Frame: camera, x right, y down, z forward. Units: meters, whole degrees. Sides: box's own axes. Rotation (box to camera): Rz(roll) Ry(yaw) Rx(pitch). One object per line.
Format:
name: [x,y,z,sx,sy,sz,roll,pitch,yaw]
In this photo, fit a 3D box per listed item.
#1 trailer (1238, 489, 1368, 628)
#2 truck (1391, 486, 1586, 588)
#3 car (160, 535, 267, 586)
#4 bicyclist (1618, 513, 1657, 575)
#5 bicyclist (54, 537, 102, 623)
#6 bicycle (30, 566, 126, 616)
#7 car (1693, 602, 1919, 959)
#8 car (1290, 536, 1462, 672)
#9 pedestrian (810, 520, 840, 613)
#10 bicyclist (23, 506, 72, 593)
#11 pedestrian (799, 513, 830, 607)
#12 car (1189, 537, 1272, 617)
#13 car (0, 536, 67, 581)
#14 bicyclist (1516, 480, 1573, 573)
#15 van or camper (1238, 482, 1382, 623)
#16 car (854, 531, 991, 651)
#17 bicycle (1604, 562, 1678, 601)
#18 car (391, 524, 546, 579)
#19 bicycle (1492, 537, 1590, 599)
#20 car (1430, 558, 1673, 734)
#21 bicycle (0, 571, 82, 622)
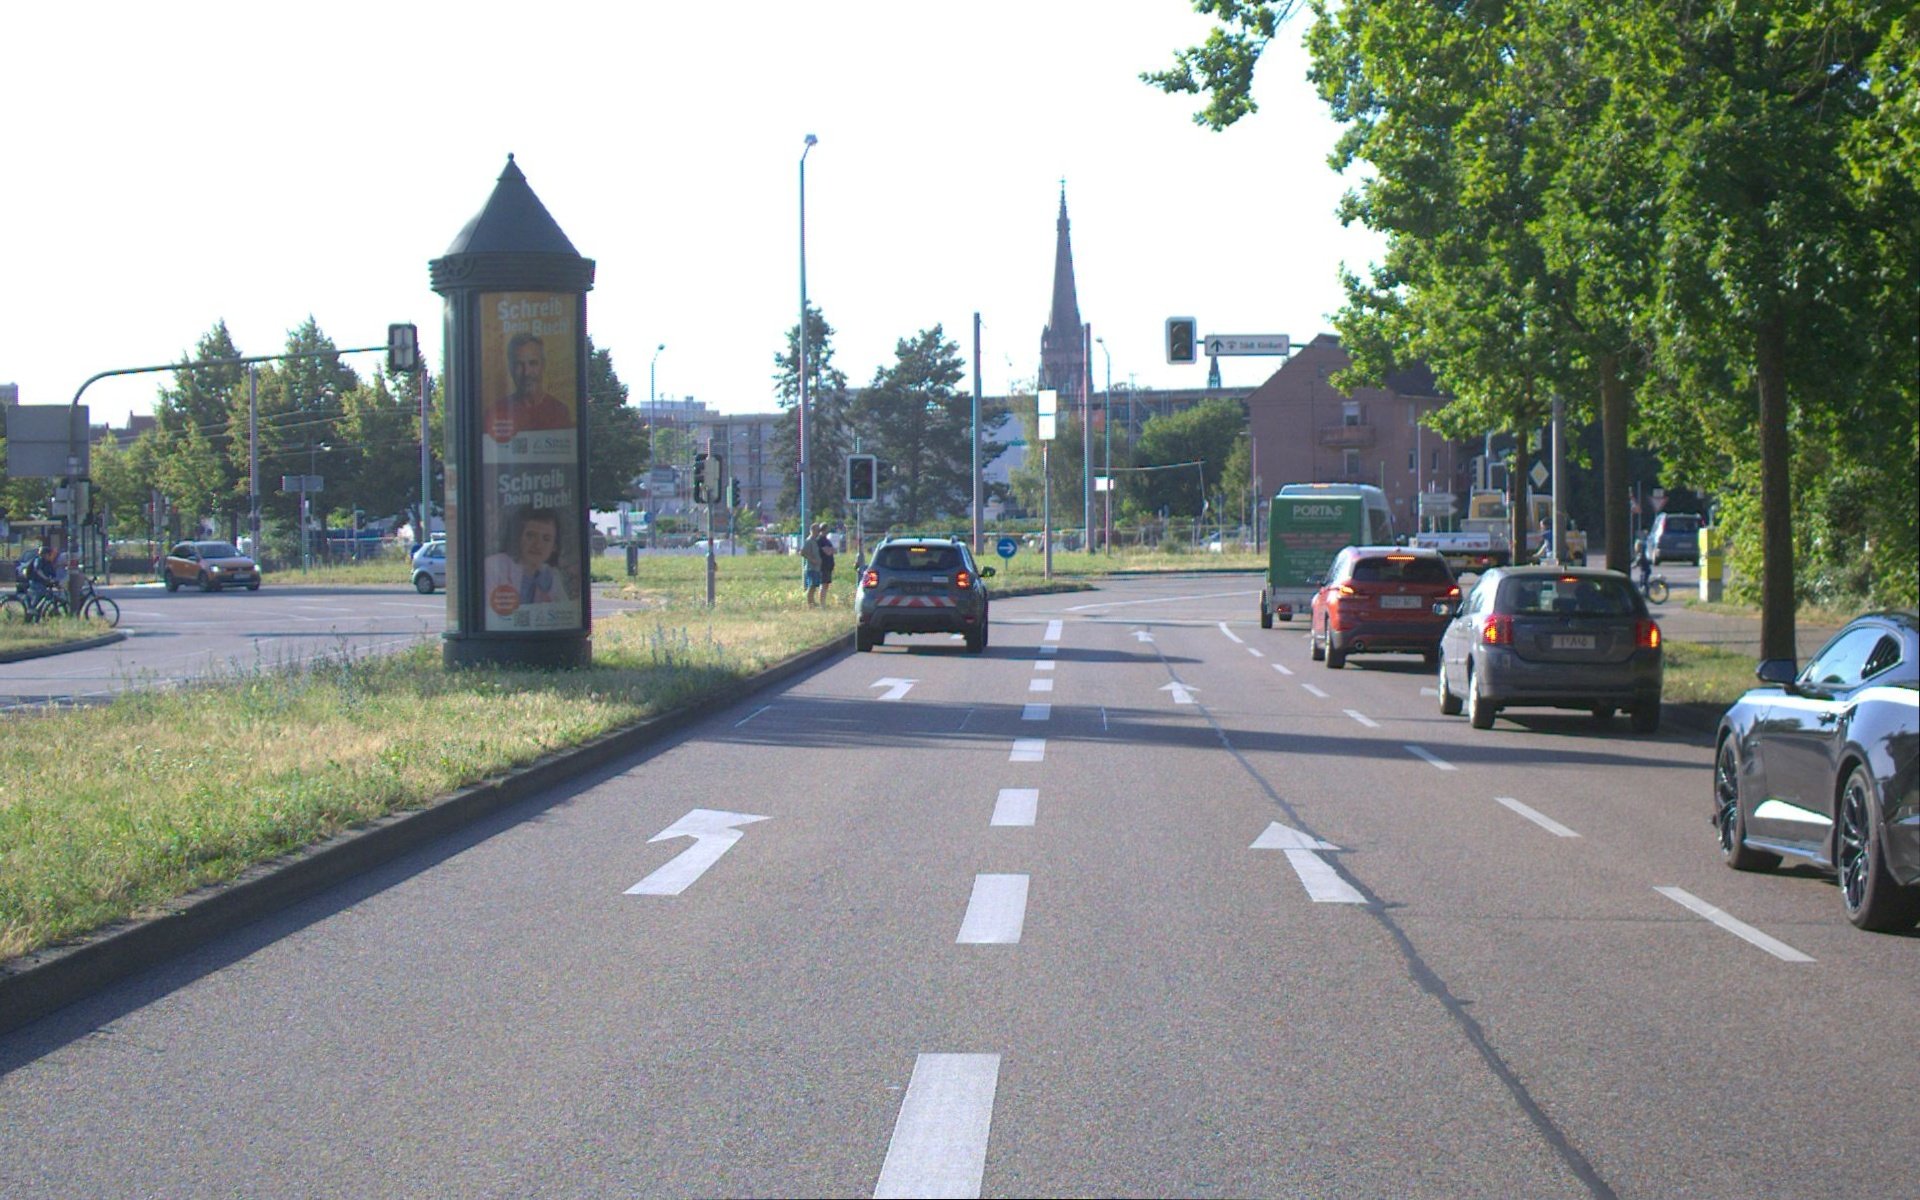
trailer: [6.154,-0.769,61.979,2.090,2.392,3.501,1,1,2]
truck: [13.828,-1.680,89.630,2.585,2.549,6.240,0,2,34]
car: [-22.001,-1.192,101.238,1.903,1.439,4.140,-2,2,-30]
bicyclist: [14.227,-1.174,72.231,0.648,1.290,0.466,-2,2,-15]
bicyclist: [-18.449,-0.426,71.925,0.813,1.782,0.496,1,1,10]
bicycle: [-18.453,-0.197,71.927,1.909,1.016,0.504,1,1,9]
car: [4.614,0.696,15.365,1.854,1.333,4.625,0,0,2]
car: [5.519,0.021,45.989,1.747,1.615,3.820,2,2,0]
pedestrian: [-2.692,-0.670,68.708,0.486,1.837,0.672,-1,1,5]
bicyclist: [-18.727,-1.041,70.556,0.813,1.764,0.496,1,1,17]
pedestrian: [-2.863,-0.791,67.829,0.486,1.837,0.719,-1,1,5]
car: [5.706,-0.513,72.757,1.602,1.604,4.000,0,1,2]
car: [-30.649,-1.323,110.292,4.144,1.371,1.669,0,2,39]
bicyclist: [12.098,-1.518,71.148,0.938,1.892,0.600,-1,1,39]
van or camper: [6.989,-0.984,68.035,2.285,2.620,6.580,1,2,10]
car: [-0.590,-0.162,50.217,1.905,1.654,4.000,-1,1,-2]
bicycle: [14.326,-0.393,72.336,1.459,0.783,0.440,-2,1,-15]
car: [-13.242,-1.302,92.619,3.753,1.429,1.833,0,2,28]
bicycle: [12.040,-0.658,71.226,1.908,1.240,0.608,-1,1,39]
car: [5.426,0.382,31.921,1.747,1.468,3.819,-1,1,3]
bicycle: [-19.032,-0.071,70.663,1.910,1.016,0.504,1,1,18]
